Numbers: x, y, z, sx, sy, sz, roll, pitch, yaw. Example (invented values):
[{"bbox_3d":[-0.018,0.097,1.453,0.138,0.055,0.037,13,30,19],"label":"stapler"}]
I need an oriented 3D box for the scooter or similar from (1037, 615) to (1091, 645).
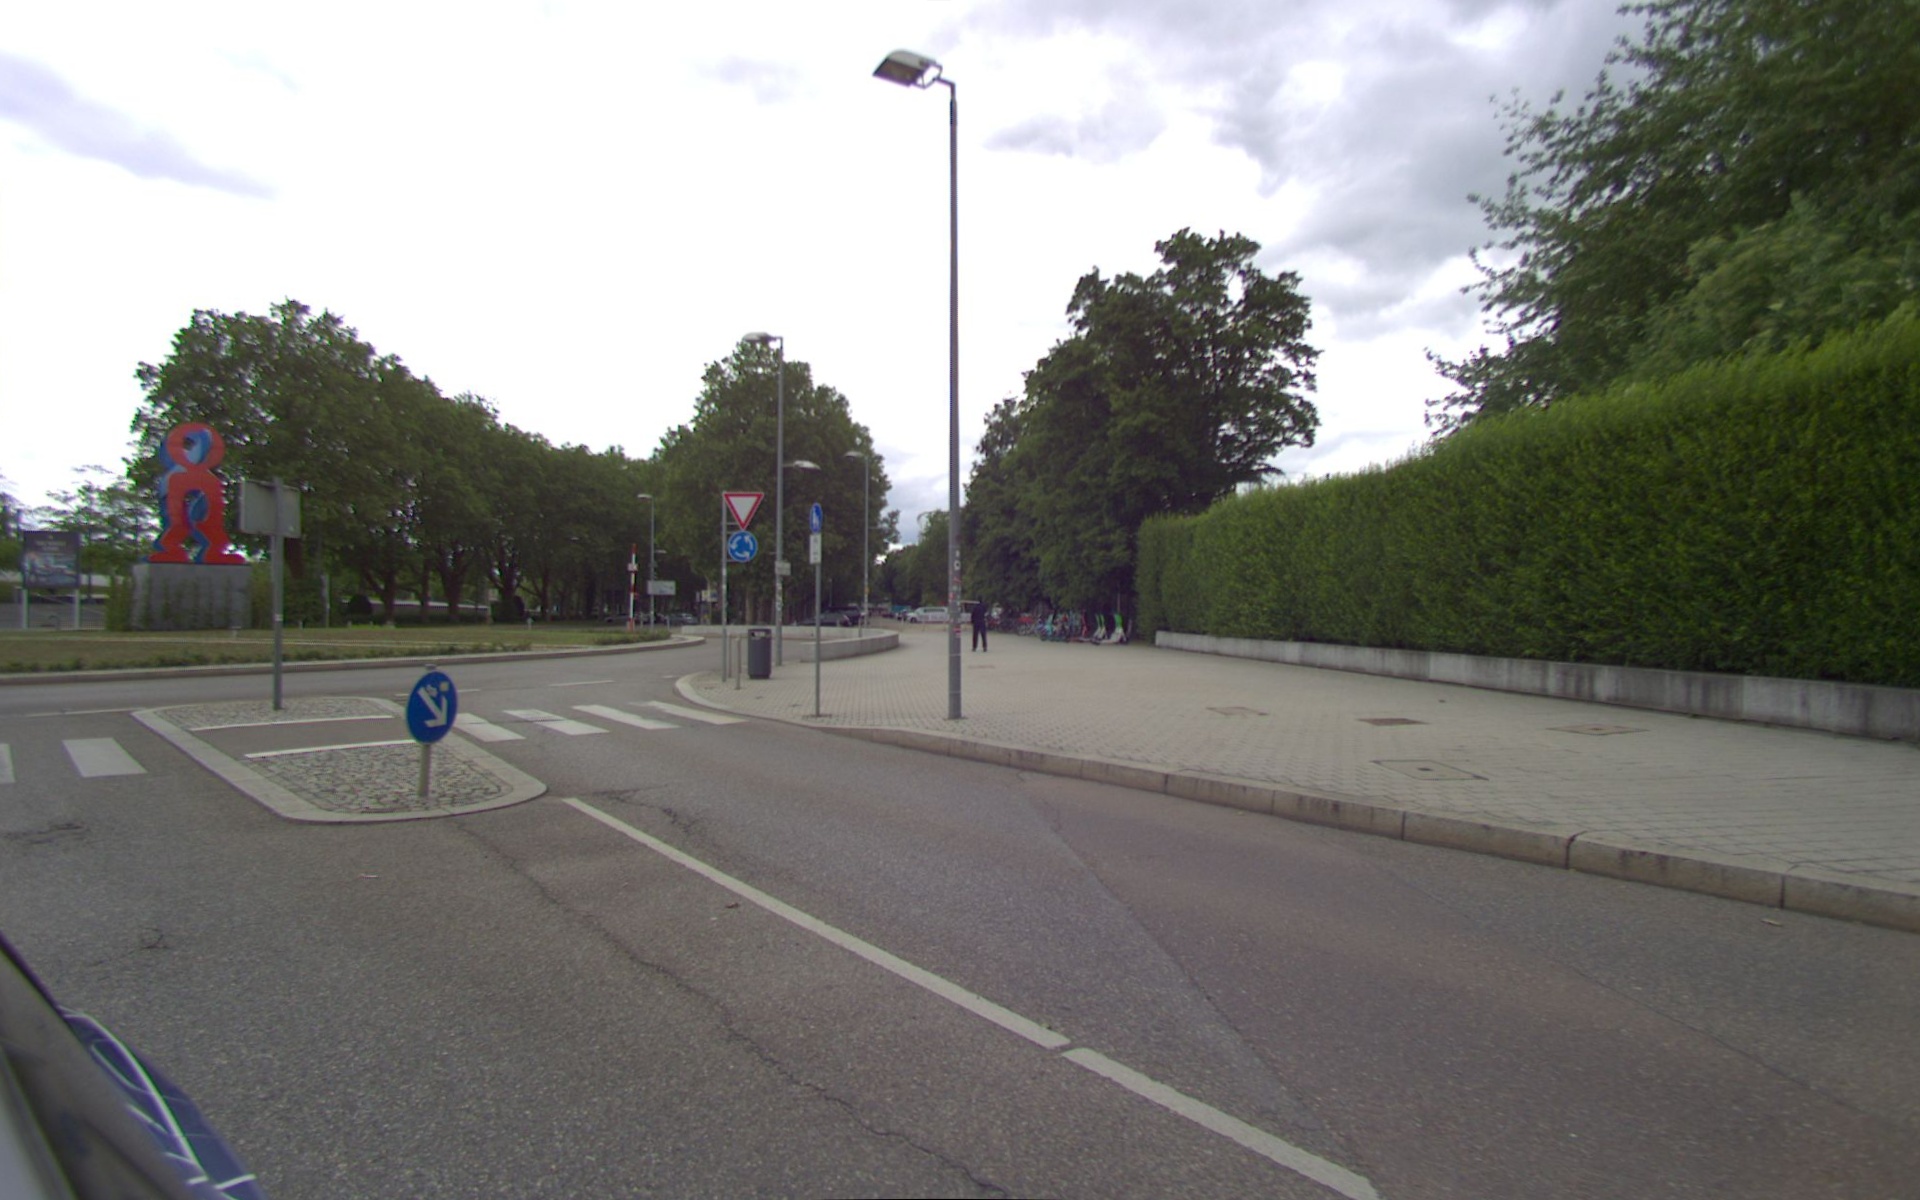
[{"bbox_3d":[4.018,1.147,39.048,1.944,1.117,0.641,-1,-2,-8],"label":"scooter or similar"}]

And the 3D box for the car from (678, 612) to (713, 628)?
[{"bbox_3d":[-30.795,2.324,117.776,3.656,1.791,1.672,-1,-2,-4],"label":"car"}]

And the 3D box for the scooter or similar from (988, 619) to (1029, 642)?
[{"bbox_3d":[2.409,1.503,50.542,1.944,1.117,0.641,-1,-2,-8],"label":"scooter or similar"}]

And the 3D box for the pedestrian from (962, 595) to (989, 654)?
[{"bbox_3d":[0.472,0.768,31.973,0.782,1.821,0.866,-1,-2,-1],"label":"pedestrian"}]

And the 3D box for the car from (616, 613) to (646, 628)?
[{"bbox_3d":[-43.561,2.690,133.873,3.404,1.863,1.686,0,-1,3],"label":"car"}]

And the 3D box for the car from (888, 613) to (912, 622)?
[{"bbox_3d":[-11.443,3.294,193.089,4.364,1.664,1.801,-1,-2,-11],"label":"car"}]

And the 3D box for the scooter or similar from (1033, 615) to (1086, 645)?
[{"bbox_3d":[3.896,1.169,39.749,1.944,1.117,0.641,-1,-2,-8],"label":"scooter or similar"}]

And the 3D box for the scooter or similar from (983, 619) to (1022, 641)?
[{"bbox_3d":[2.192,1.565,52.549,1.944,1.117,0.641,-1,-2,-8],"label":"scooter or similar"}]

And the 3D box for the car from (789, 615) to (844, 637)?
[{"bbox_3d":[-10.127,1.843,71.629,3.766,1.536,1.782,-1,-2,-7],"label":"car"}]

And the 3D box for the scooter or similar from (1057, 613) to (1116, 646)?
[{"bbox_3d":[4.510,1.057,36.079,1.944,1.117,0.641,-1,-2,-8],"label":"scooter or similar"}]

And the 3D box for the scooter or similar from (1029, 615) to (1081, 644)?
[{"bbox_3d":[3.811,1.193,40.515,1.944,1.117,0.641,-1,-2,-8],"label":"scooter or similar"}]

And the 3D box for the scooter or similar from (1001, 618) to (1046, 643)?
[{"bbox_3d":[2.923,1.388,46.504,1.944,1.117,0.641,-1,-2,-8],"label":"scooter or similar"}]

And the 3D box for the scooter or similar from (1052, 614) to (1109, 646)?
[{"bbox_3d":[4.386,1.086,36.874,1.944,1.117,0.641,-1,-2,-8],"label":"scooter or similar"}]

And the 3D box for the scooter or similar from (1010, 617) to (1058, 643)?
[{"bbox_3d":[3.240,1.313,44.374,1.944,1.117,0.641,-1,-2,-8],"label":"scooter or similar"}]

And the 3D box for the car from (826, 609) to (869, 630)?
[{"bbox_3d":[-9.983,1.719,89.912,3.656,1.791,1.672,-1,-2,-4],"label":"car"}]

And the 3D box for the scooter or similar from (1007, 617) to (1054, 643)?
[{"bbox_3d":[3.131,1.346,45.076,1.944,1.117,0.641,-1,-2,-8],"label":"scooter or similar"}]

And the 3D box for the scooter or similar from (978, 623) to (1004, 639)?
[{"bbox_3d":[2.180,2.148,70.964,1.781,1.103,0.546,-1,-2,-8],"label":"scooter or similar"}]

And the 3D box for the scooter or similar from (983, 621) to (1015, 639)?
[{"bbox_3d":[2.545,1.955,65.588,1.944,1.117,0.641,-1,-2,-8],"label":"scooter or similar"}]

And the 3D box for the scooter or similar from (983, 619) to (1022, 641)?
[{"bbox_3d":[2.265,1.608,53.884,1.944,1.117,0.641,-1,-2,-8],"label":"scooter or similar"}]

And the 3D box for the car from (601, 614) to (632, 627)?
[{"bbox_3d":[-43.867,2.620,129.247,3.395,1.697,1.691,0,-1,-8],"label":"car"}]

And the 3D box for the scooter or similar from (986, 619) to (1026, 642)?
[{"bbox_3d":[2.342,1.545,51.585,1.944,1.117,0.641,-1,-2,-8],"label":"scooter or similar"}]

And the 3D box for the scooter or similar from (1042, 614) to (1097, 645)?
[{"bbox_3d":[4.135,1.125,38.354,1.944,1.117,0.641,-1,-2,-8],"label":"scooter or similar"}]

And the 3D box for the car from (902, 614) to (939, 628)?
[{"bbox_3d":[-4.852,2.612,124.918,4.366,1.664,1.800,-1,-2,-8],"label":"car"}]

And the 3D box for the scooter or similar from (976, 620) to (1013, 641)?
[{"bbox_3d":[1.933,1.704,56.890,1.944,1.117,0.641,-1,-2,-8],"label":"scooter or similar"}]

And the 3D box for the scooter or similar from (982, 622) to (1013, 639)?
[{"bbox_3d":[2.515,2.017,67.678,1.944,1.117,0.641,-1,-2,-8],"label":"scooter or similar"}]

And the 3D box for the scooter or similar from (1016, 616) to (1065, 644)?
[{"bbox_3d":[3.418,1.278,43.026,1.944,1.117,0.641,-1,-2,-8],"label":"scooter or similar"}]

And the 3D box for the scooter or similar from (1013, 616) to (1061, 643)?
[{"bbox_3d":[3.332,1.288,43.699,1.944,1.117,0.641,-1,-2,-8],"label":"scooter or similar"}]

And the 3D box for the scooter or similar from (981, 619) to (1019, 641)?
[{"bbox_3d":[2.156,1.623,54.654,1.944,1.113,0.641,-1,-2,-8],"label":"scooter or similar"}]

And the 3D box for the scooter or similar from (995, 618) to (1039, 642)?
[{"bbox_3d":[2.685,1.428,47.937,1.944,1.117,0.641,-1,-2,-8],"label":"scooter or similar"}]

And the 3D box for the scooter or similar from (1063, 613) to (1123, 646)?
[{"bbox_3d":[4.629,1.037,35.241,1.944,1.117,0.641,-1,-2,-8],"label":"scooter or similar"}]

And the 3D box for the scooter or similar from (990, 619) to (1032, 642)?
[{"bbox_3d":[2.520,1.486,49.657,1.944,1.117,0.641,-1,-2,-8],"label":"scooter or similar"}]

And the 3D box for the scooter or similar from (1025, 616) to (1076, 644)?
[{"bbox_3d":[3.701,1.213,41.318,1.944,1.117,0.641,-1,-2,-8],"label":"scooter or similar"}]

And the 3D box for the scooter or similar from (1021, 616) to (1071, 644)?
[{"bbox_3d":[3.566,1.257,42.180,1.944,1.117,0.641,-1,-2,-8],"label":"scooter or similar"}]

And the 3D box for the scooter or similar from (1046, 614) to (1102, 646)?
[{"bbox_3d":[4.245,1.111,37.597,1.944,1.117,0.641,-1,-2,-8],"label":"scooter or similar"}]

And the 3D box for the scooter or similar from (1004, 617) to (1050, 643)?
[{"bbox_3d":[3.019,1.357,45.781,1.944,1.117,0.641,-1,-2,-8],"label":"scooter or similar"}]
